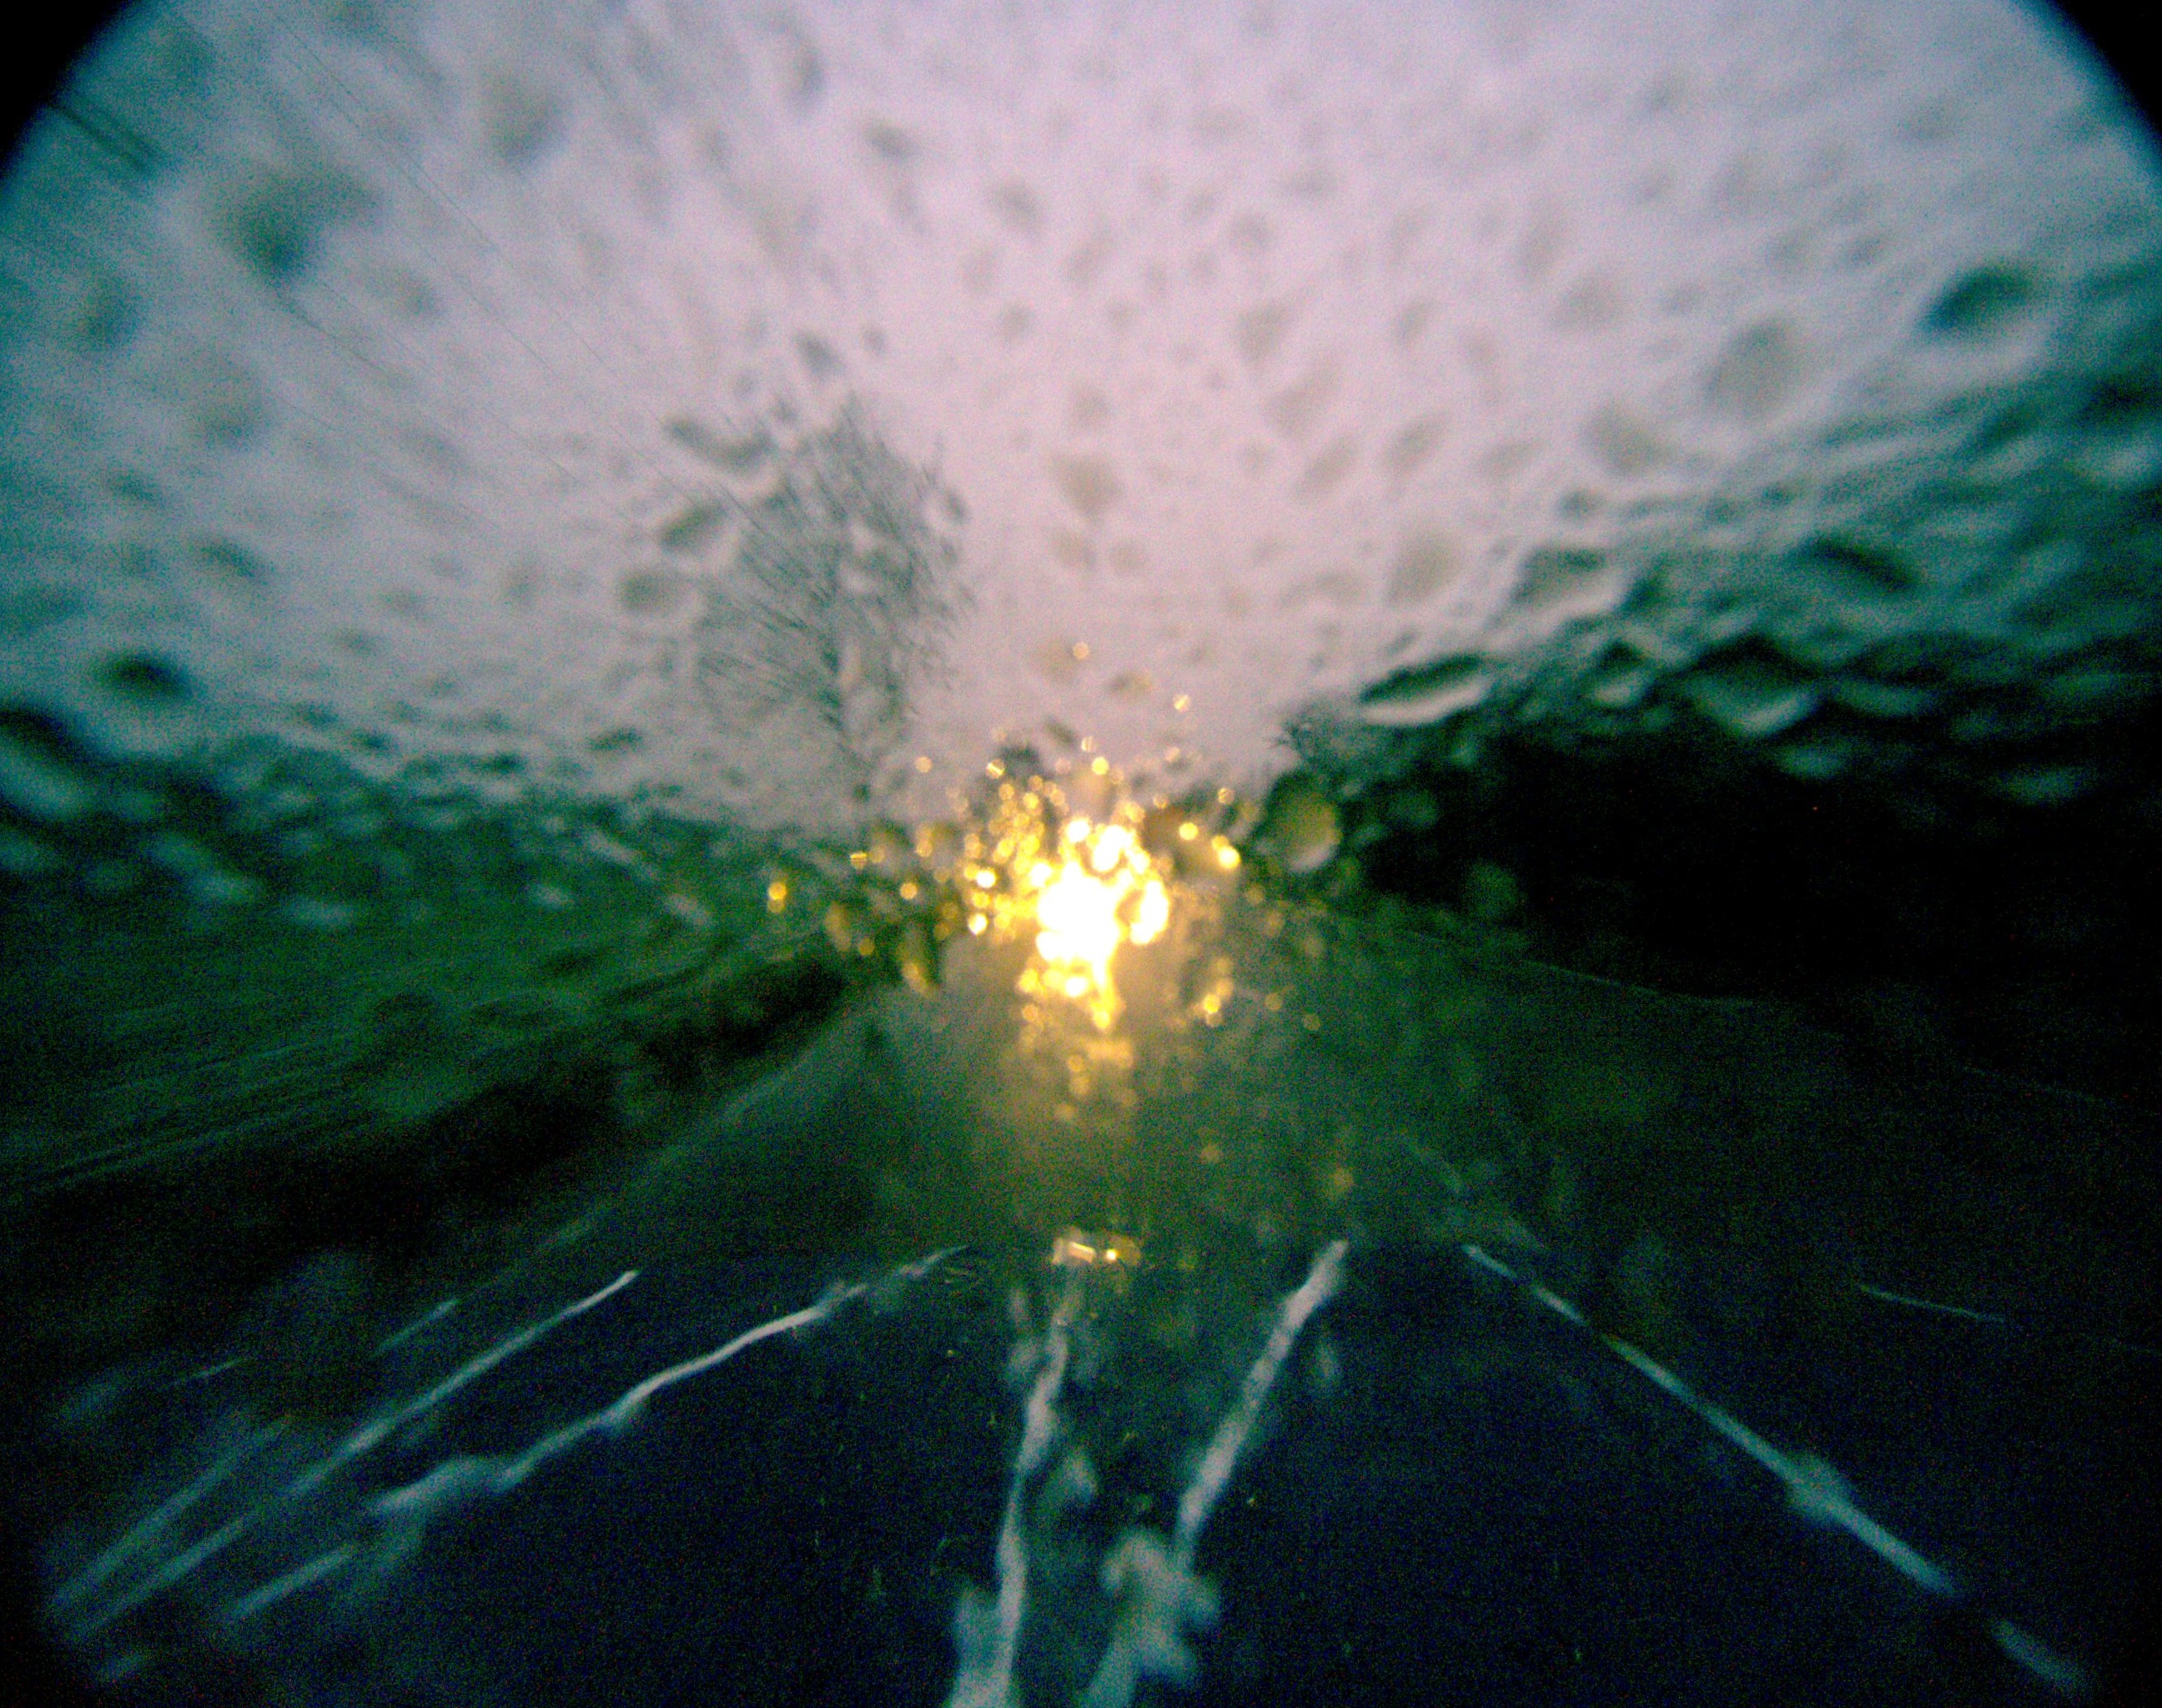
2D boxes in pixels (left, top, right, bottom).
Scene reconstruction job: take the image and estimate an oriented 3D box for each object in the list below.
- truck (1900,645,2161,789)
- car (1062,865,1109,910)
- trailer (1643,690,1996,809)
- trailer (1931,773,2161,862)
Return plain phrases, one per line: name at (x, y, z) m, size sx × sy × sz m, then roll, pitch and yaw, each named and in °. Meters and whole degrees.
truck at (26.164, -3.420, 20.344) m, size 2.456 × 2.870 × 5.583 m, roll -1°, pitch 0°, yaw 0°
car at (0.263, 1.443, 33.860) m, size 1.910 × 1.653 × 4.000 m, roll -3°, pitch 1°, yaw 2°
trailer at (26.228, -3.447, 28.298) m, size 2.442 × 2.874 × 11.085 m, roll -1°, pitch 0°, yaw 0°
trailer at (30.614, -1.000, 20.549) m, size 2.515 × 2.410 × 11.501 m, roll -1°, pitch 0°, yaw 1°
